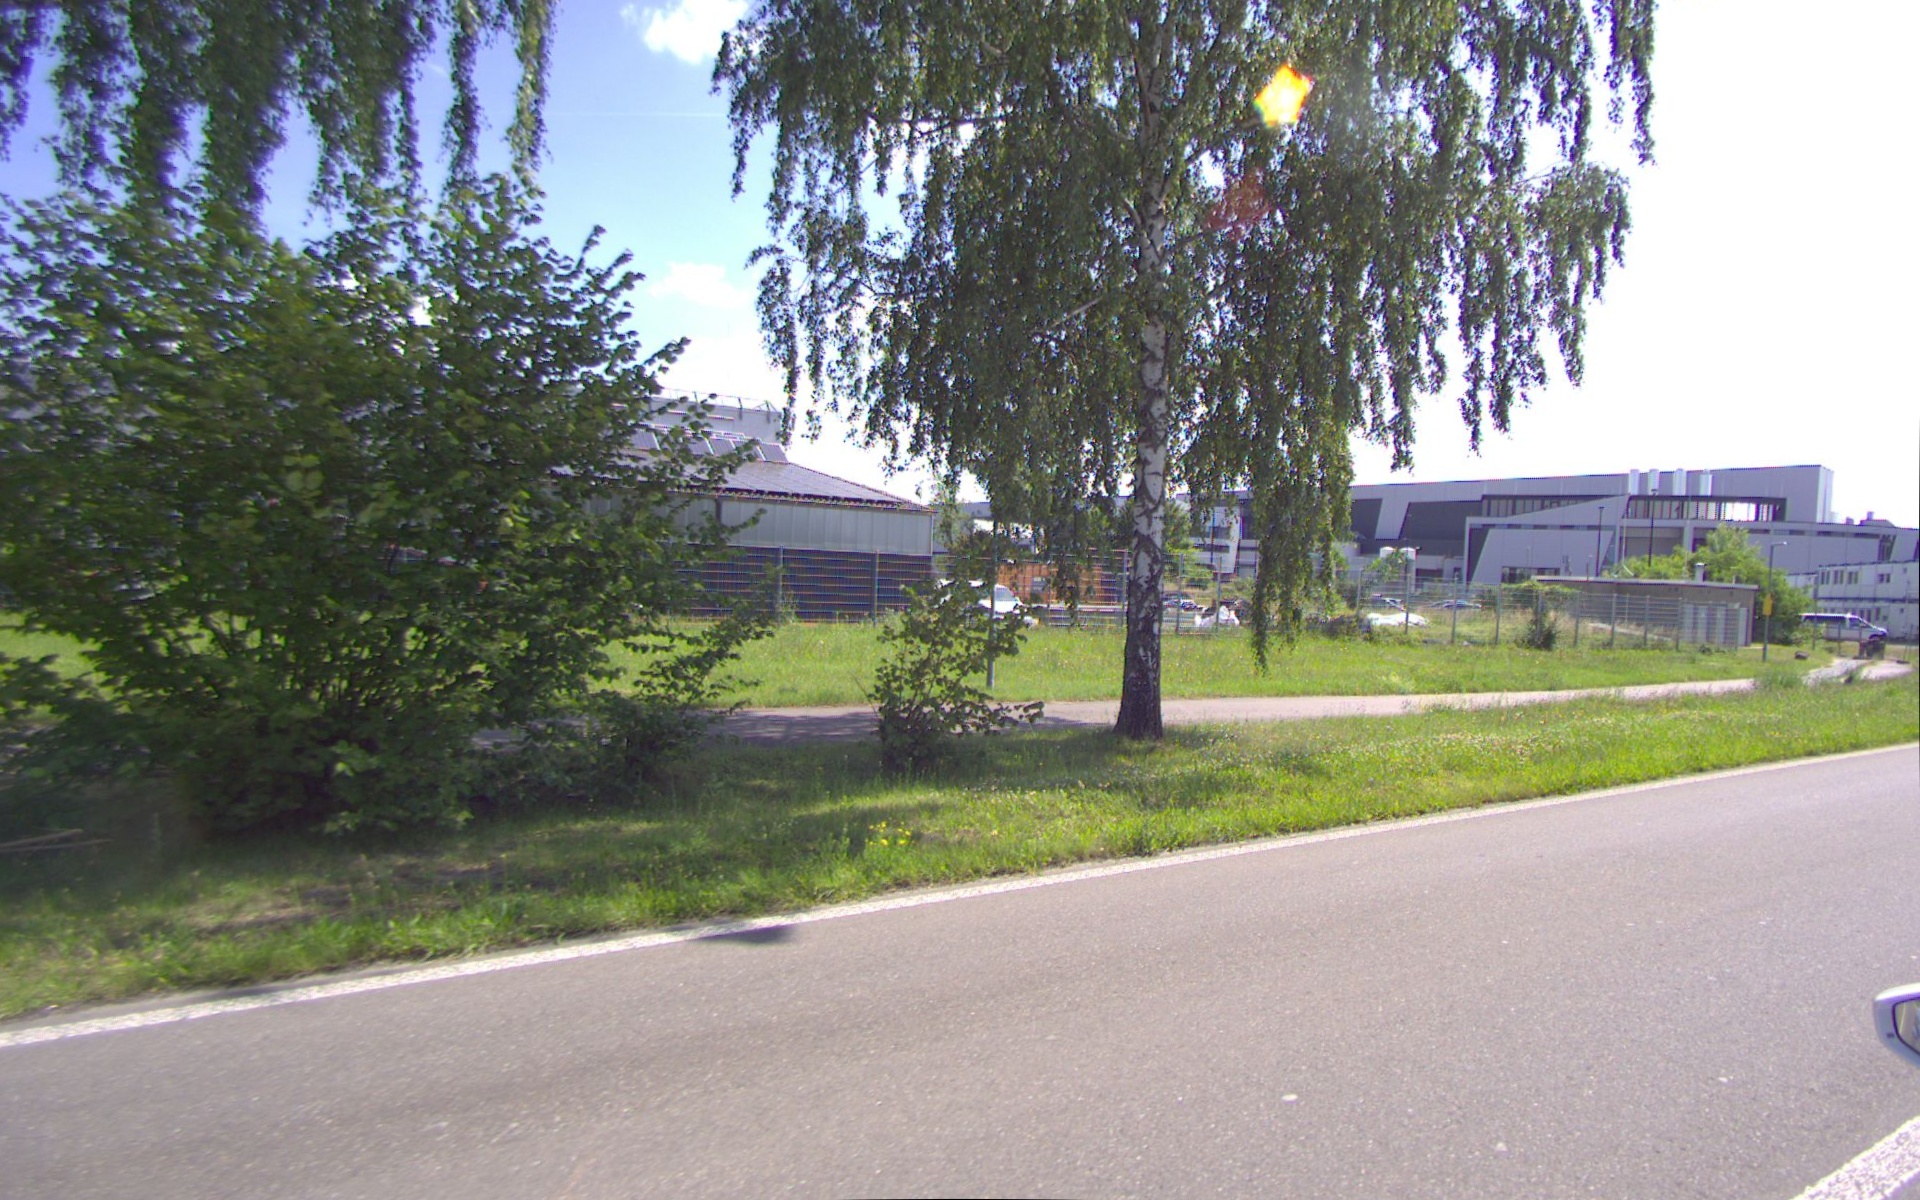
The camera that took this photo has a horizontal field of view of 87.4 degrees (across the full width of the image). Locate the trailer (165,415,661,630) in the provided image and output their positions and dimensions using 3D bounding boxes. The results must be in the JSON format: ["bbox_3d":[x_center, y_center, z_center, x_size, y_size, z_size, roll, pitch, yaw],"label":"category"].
[{"bbox_3d":[-11.116,-1.340,21.417,8.552,3.693,3.385,2,0,-28],"label":"trailer"}]

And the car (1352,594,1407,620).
[{"bbox_3d":[34.564,0.574,82.908,3.919,2.040,2.001,2,0,16],"label":"car"}]

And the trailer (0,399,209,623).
[{"bbox_3d":[-21.298,-1.690,15.807,14.741,3.693,3.276,2,0,-29],"label":"trailer"}]

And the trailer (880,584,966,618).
[{"bbox_3d":[-1.523,0.016,39.947,1.881,1.182,3.970,2,1,-28],"label":"trailer"}]

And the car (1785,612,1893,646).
[{"bbox_3d":[58.721,1.909,67.203,4.923,1.892,1.999,3,2,21],"label":"car"}]

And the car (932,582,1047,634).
[{"bbox_3d":[0.816,0.202,30.179,1.725,1.361,3.971,1,1,-27],"label":"car"}]
